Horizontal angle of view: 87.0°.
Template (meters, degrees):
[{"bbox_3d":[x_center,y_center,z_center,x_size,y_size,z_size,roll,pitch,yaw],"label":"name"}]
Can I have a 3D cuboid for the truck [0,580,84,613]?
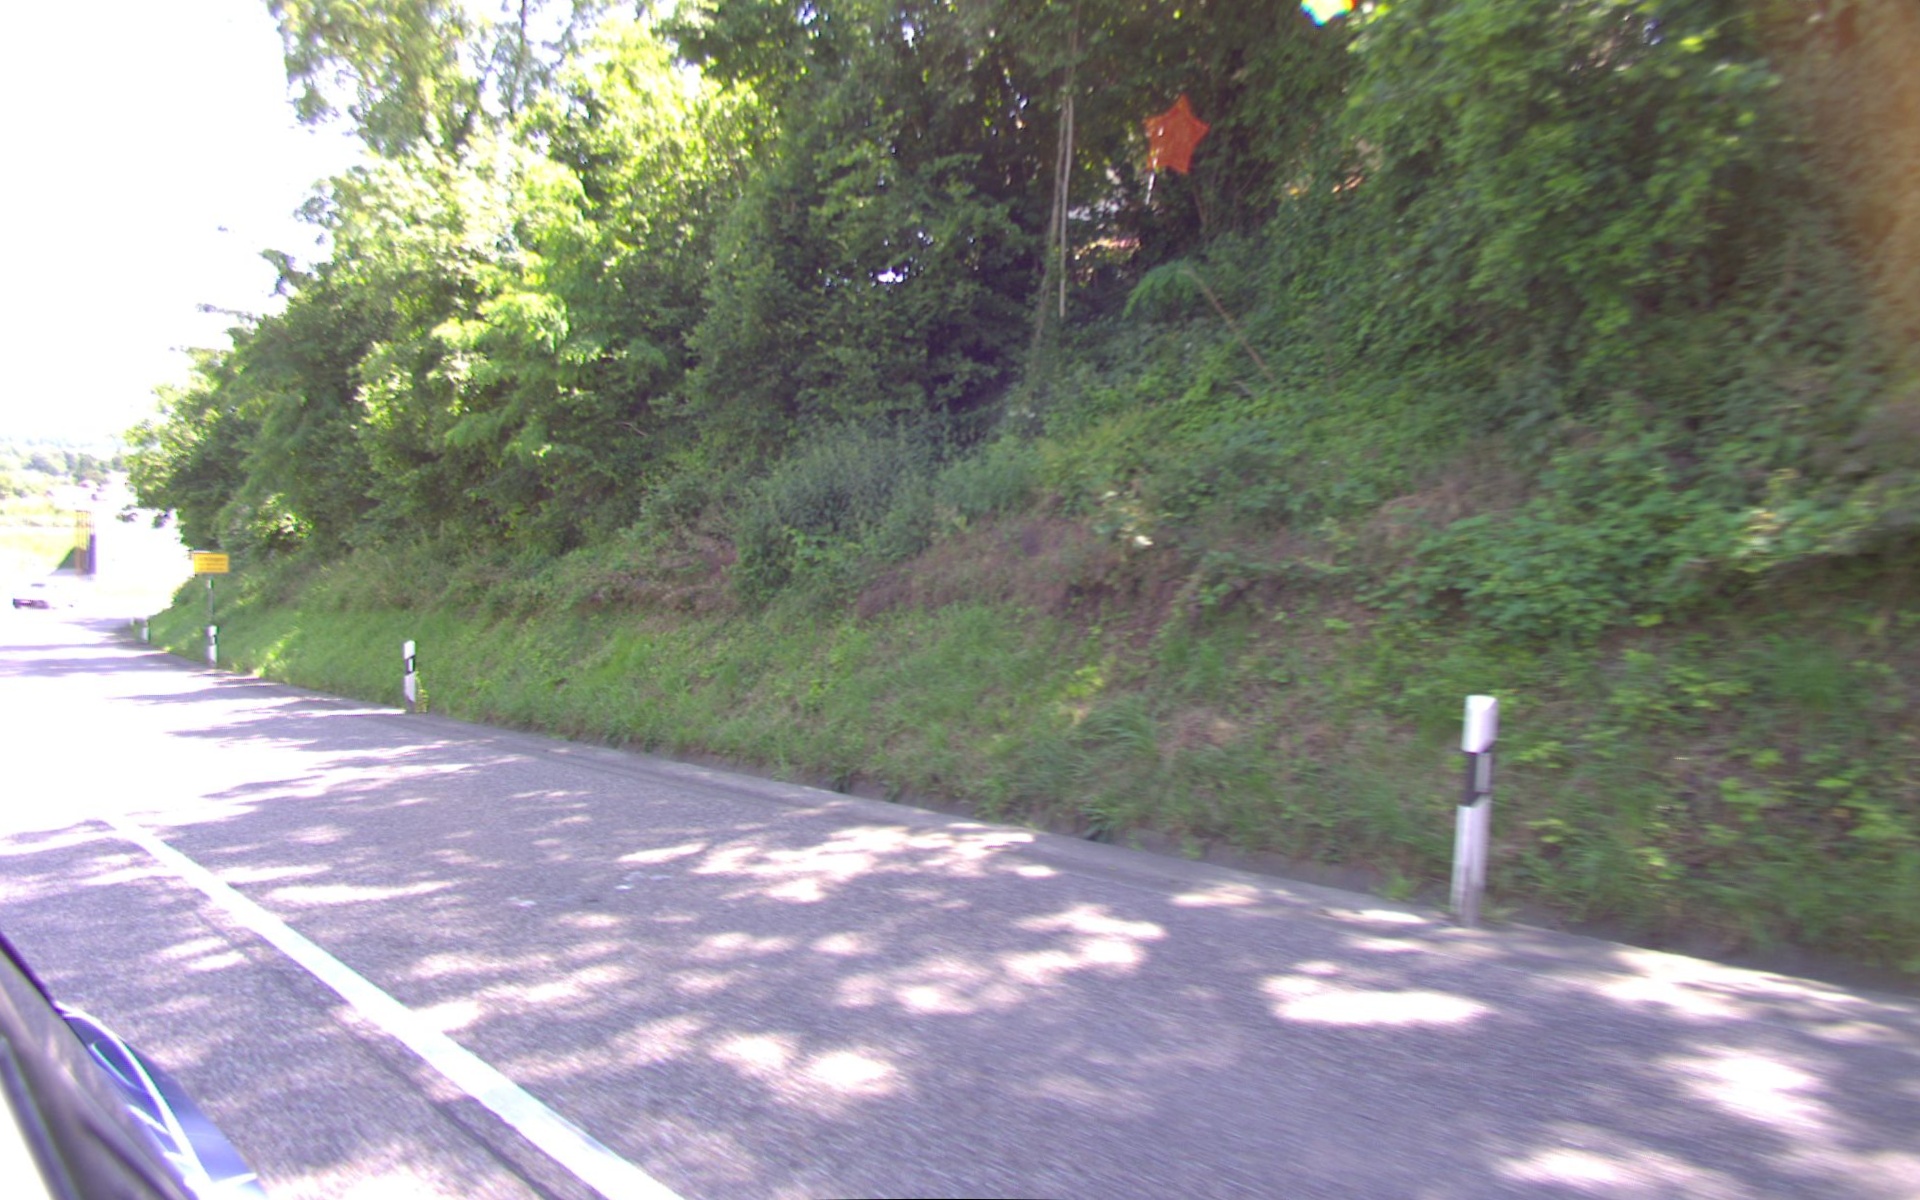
[{"bbox_3d":[-60.094,-0.287,66.300,2.037,2.028,5.260,0,2,-15],"label":"truck"}]
